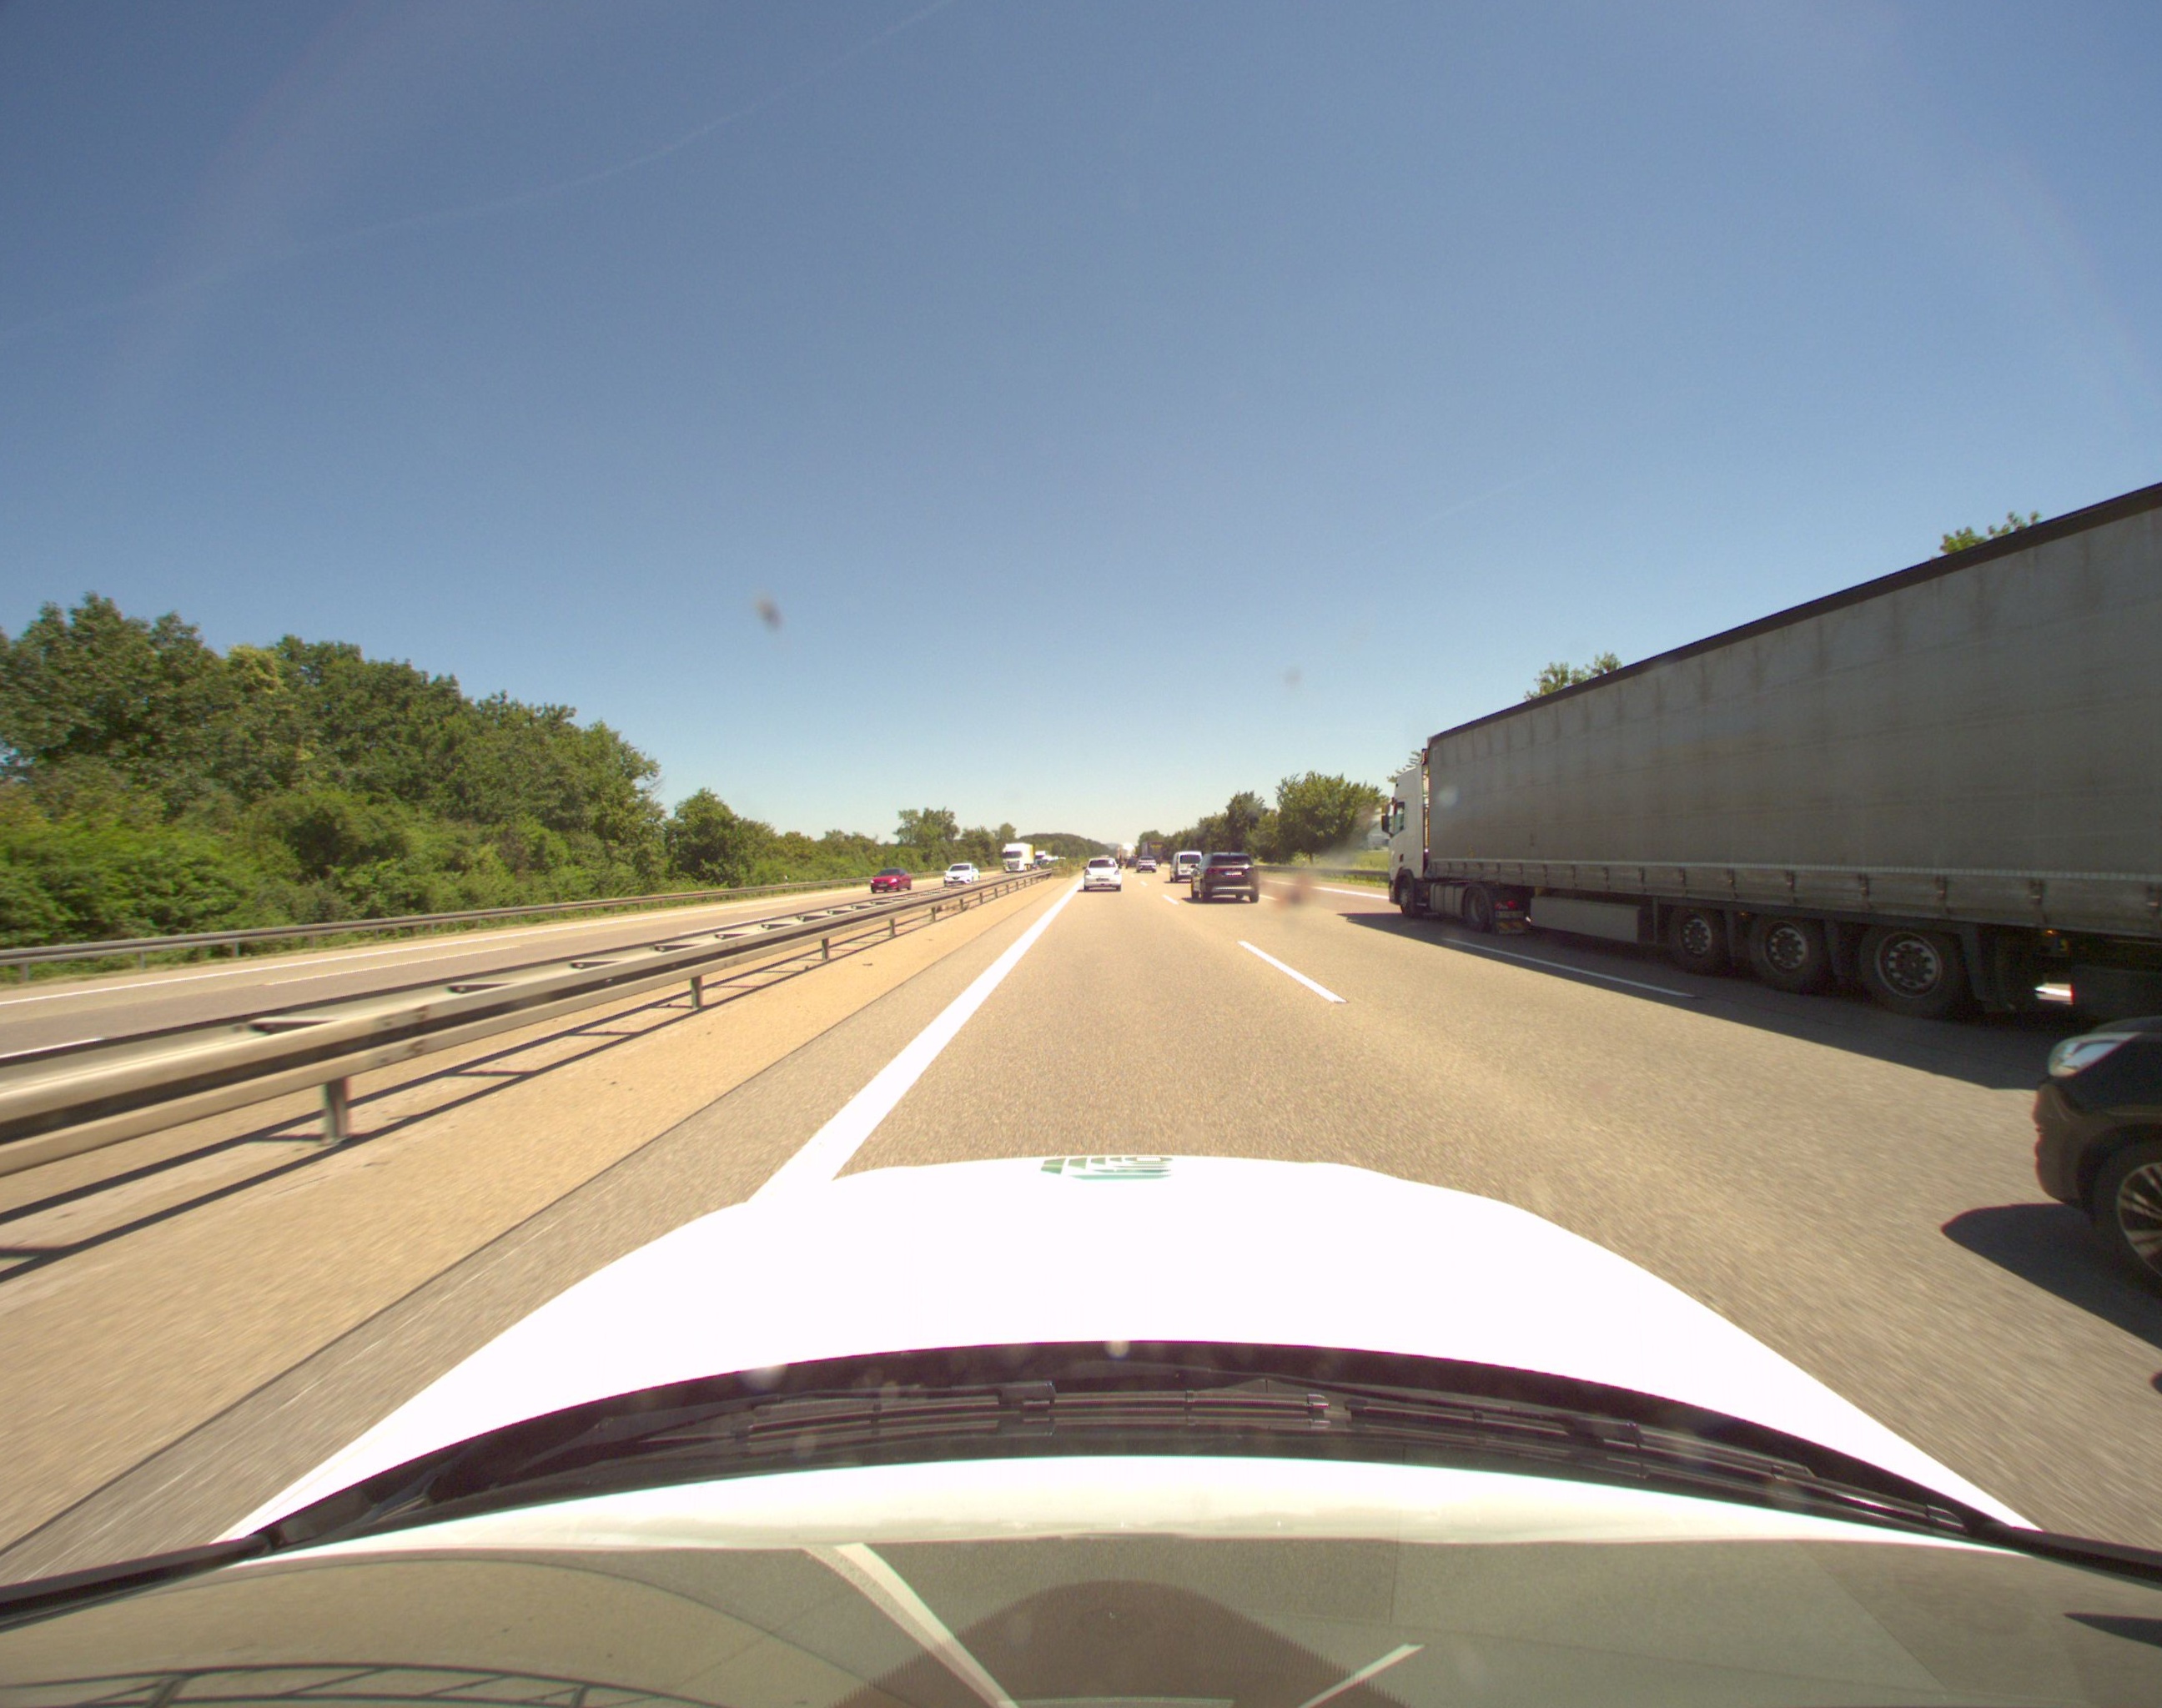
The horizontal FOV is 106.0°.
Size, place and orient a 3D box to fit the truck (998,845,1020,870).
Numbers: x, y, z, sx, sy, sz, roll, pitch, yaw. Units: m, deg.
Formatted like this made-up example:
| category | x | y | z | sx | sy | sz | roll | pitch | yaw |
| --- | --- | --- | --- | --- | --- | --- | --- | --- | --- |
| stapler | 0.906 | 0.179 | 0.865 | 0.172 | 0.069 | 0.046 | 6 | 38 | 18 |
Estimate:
| category | x | y | z | sx | sy | sz | roll | pitch | yaw |
| --- | --- | --- | --- | --- | --- | --- | --- | --- | --- |
| truck | -12.419 | 0.569 | 141.519 | 2.747 | 4.103 | 6.155 | -4 | -1 | 2 |

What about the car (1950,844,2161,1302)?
| category | x | y | z | sx | sy | sz | roll | pitch | yaw |
| --- | --- | --- | --- | --- | --- | --- | --- | --- | --- |
| car | 4.308 | 0.694 | 1.541 | 1.682 | 1.473 | 3.432 | 0 | 0 | 0 |

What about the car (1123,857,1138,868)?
| category | x | y | z | sx | sy | sz | roll | pitch | yaw |
| --- | --- | --- | --- | --- | --- | --- | --- | --- | --- |
| car | 6.550 | 1.121 | 107.993 | 1.843 | 1.523 | 3.958 | 0 | 0 | 2 |

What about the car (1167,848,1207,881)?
| category | x | y | z | sx | sy | sz | roll | pitch | yaw |
| --- | --- | --- | --- | --- | --- | --- | --- | --- | --- |
| car | 6.284 | 0.610 | 48.838 | 1.847 | 1.863 | 4.702 | 0 | 0 | 1 |

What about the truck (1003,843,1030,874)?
| category | x | y | z | sx | sy | sz | roll | pitch | yaw |
| --- | --- | --- | --- | --- | --- | --- | --- | --- | --- |
| truck | -9.009 | 0.577 | 114.447 | 2.729 | 4.085 | 6.221 | -3 | -1 | 3 |

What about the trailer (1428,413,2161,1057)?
| category | x | y | z | sx | sy | sz | roll | pitch | yaw |
| --- | --- | --- | --- | --- | --- | --- | --- | --- | --- |
| trailer | 8.770 | -0.764 | 10.558 | 2.799 | 4.304 | 14.258 | 0 | 0 | 1 |

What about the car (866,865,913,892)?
| category | x | y | z | sx | sy | sz | roll | pitch | yaw |
| --- | --- | --- | --- | --- | --- | --- | --- | --- | --- |
| car | -11.598 | 1.473 | 49.605 | 1.767 | 1.417 | 4.110 | -4 | 0 | 1 |

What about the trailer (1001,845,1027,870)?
| category | x | y | z | sx | sy | sz | roll | pitch | yaw |
| --- | --- | --- | --- | --- | --- | --- | --- | --- | --- |
| trailer | -12.171 | 0.610 | 148.379 | 2.746 | 4.103 | 14.059 | -4 | -1 | 2 |

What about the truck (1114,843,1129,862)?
| category | x | y | z | sx | sy | sz | roll | pitch | yaw |
| --- | --- | --- | --- | --- | --- | --- | --- | --- | --- |
| truck | 9.270 | -0.379 | 187.699 | 3.381 | 4.214 | 12.091 | 0 | 0 | 3 |

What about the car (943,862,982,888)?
| category | x | y | z | sx | sy | sz | roll | pitch | yaw |
| --- | --- | --- | --- | --- | --- | --- | --- | --- | --- |
| car | -7.271 | 1.242 | 50.226 | 1.713 | 1.422 | 3.898 | -4 | -1 | 1 |

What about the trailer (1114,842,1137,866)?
| category | x | y | z | sx | sy | sz | roll | pitch | yaw |
| --- | --- | --- | --- | --- | --- | --- | --- | --- | --- |
| trailer | 7.738 | 0.035 | 142.939 | 2.903 | 4.069 | 12.409 | 0 | 0 | -1 |

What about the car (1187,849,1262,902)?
| category | x | y | z | sx | sy | sz | roll | pitch | yaw |
| --- | --- | --- | --- | --- | --- | --- | --- | --- | --- |
| car | 4.859 | 0.690 | 28.185 | 1.860 | 1.675 | 4.747 | 0 | 0 | 1 |

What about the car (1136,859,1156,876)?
| category | x | y | z | sx | sy | sz | roll | pitch | yaw |
| --- | --- | --- | --- | --- | --- | --- | --- | --- | --- |
| car | 6.440 | 1.338 | 81.170 | 1.795 | 1.603 | 4.382 | 0 | 0 | 2 |

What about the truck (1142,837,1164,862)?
| category | x | y | z | sx | sy | sz | roll | pitch | yaw |
| --- | --- | --- | --- | --- | --- | --- | --- | --- | --- |
| truck | 12.226 | -0.670 | 139.661 | 3.096 | 4.139 | 15.521 | 0 | 0 | 3 |

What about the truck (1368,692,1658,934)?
| category | x | y | z | sx | sy | sz | roll | pitch | yaw |
| --- | --- | --- | --- | --- | --- | --- | --- | --- | --- |
| truck | 8.970 | -0.710 | 18.132 | 2.799 | 4.304 | 7.196 | 0 | -1 | 2 |

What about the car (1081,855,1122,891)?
| category | x | y | z | sx | sy | sz | roll | pitch | yaw |
| --- | --- | --- | --- | --- | --- | --- | --- | --- | --- |
| car | 0.956 | 0.854 | 37.909 | 1.793 | 1.552 | 3.610 | 0 | 0 | 1 |
